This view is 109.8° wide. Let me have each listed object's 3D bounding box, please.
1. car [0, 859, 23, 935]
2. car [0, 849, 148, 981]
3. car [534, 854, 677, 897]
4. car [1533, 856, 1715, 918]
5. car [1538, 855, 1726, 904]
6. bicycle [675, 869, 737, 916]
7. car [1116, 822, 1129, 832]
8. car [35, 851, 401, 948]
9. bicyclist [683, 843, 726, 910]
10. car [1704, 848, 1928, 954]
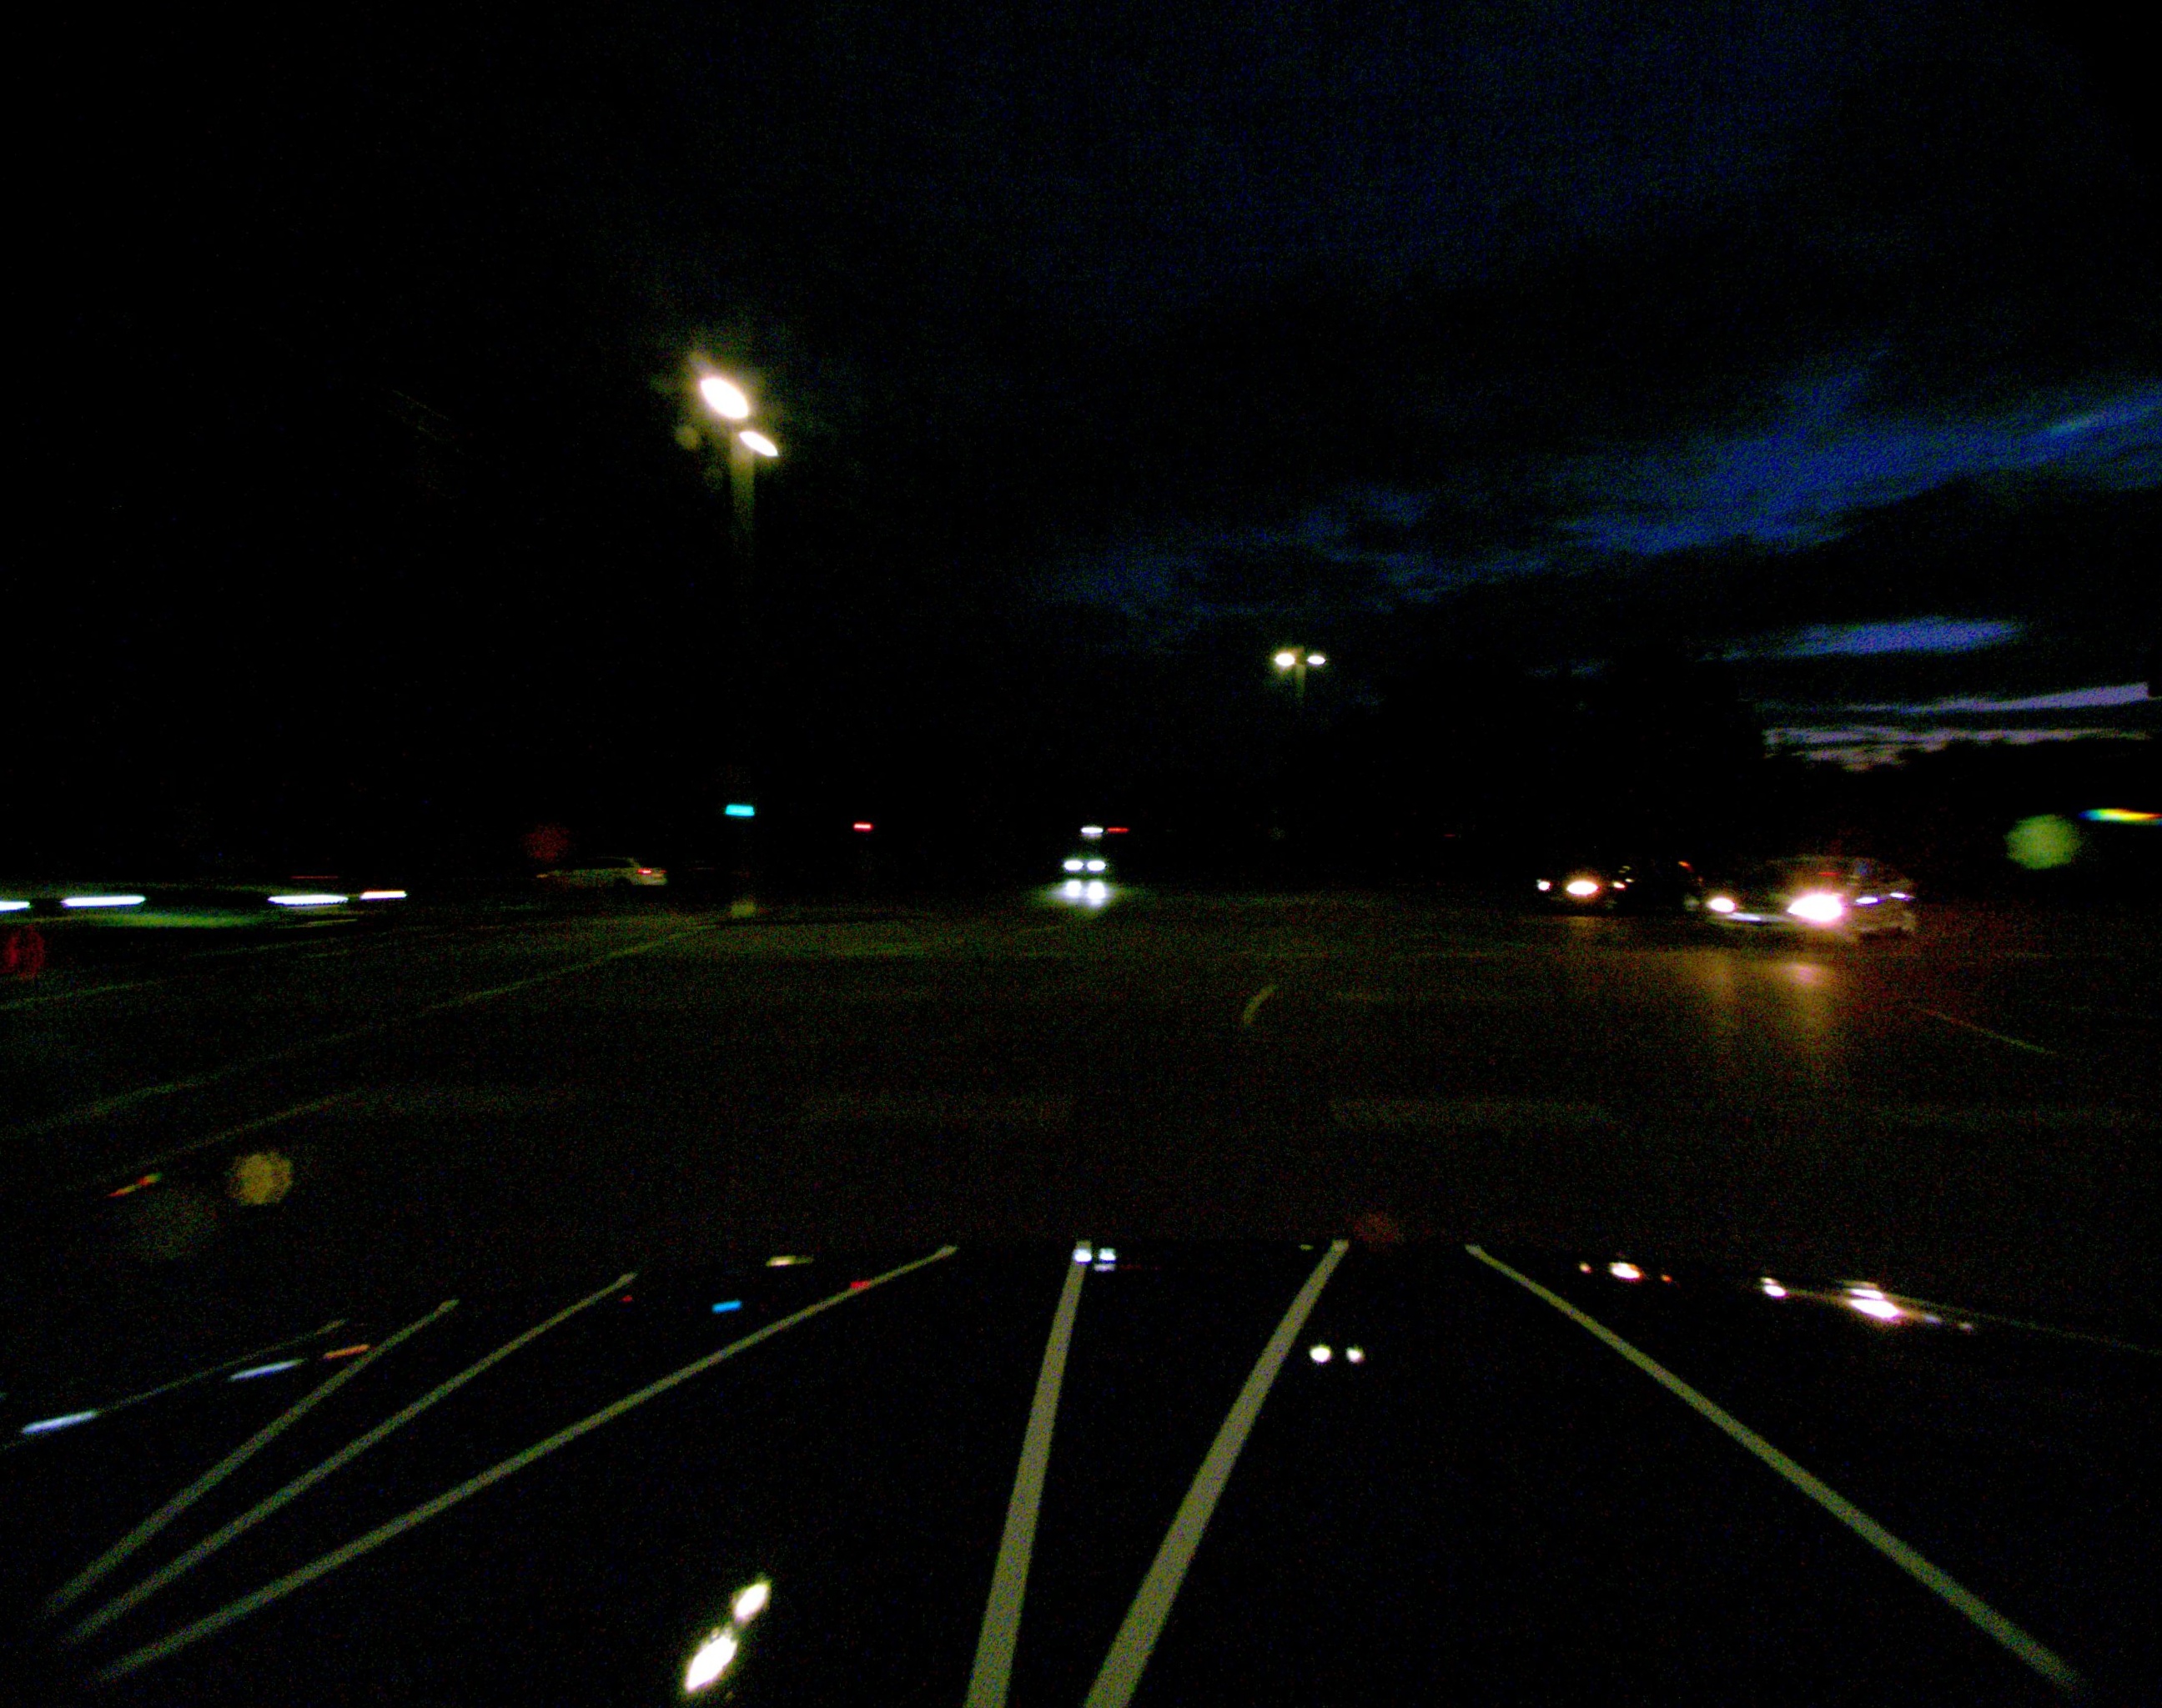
[{"bbox_3d":[-23.100,0.841,14.345,3.906,1.472,1.779,0,0,2],"label":"car"},{"bbox_3d":[-15.861,0.760,10.203,4.416,1.672,1.915,0,0,2],"label":"car"},{"bbox_3d":[-17.244,0.758,27.713,4.116,1.435,1.624,-1,1,-4],"label":"car"},{"bbox_3d":[14.153,0.825,19.903,3.776,1.472,1.670,-1,0,-8],"label":"car"},{"bbox_3d":[17.338,0.792,24.187,4.523,1.435,1.799,-1,0,20],"label":"car"},{"bbox_3d":[-9.573,0.956,19.477,0.695,1.095,2.067,-1,1,-4],"label":"bicycle"},{"bbox_3d":[7.284,-4.732,133.461,1.740,1.565,4.054,-1,5,-4],"label":"car"},{"bbox_3d":[-15.473,0.771,13.811,4.581,1.623,1.858,0,1,1],"label":"car"},{"bbox_3d":[-9.565,0.555,19.327,0.603,1.641,0.999,-1,1,-4],"label":"bicyclist"},{"bbox_3d":[13.184,0.730,13.575,4.418,1.643,1.667,0,0,-29],"label":"car"}]
